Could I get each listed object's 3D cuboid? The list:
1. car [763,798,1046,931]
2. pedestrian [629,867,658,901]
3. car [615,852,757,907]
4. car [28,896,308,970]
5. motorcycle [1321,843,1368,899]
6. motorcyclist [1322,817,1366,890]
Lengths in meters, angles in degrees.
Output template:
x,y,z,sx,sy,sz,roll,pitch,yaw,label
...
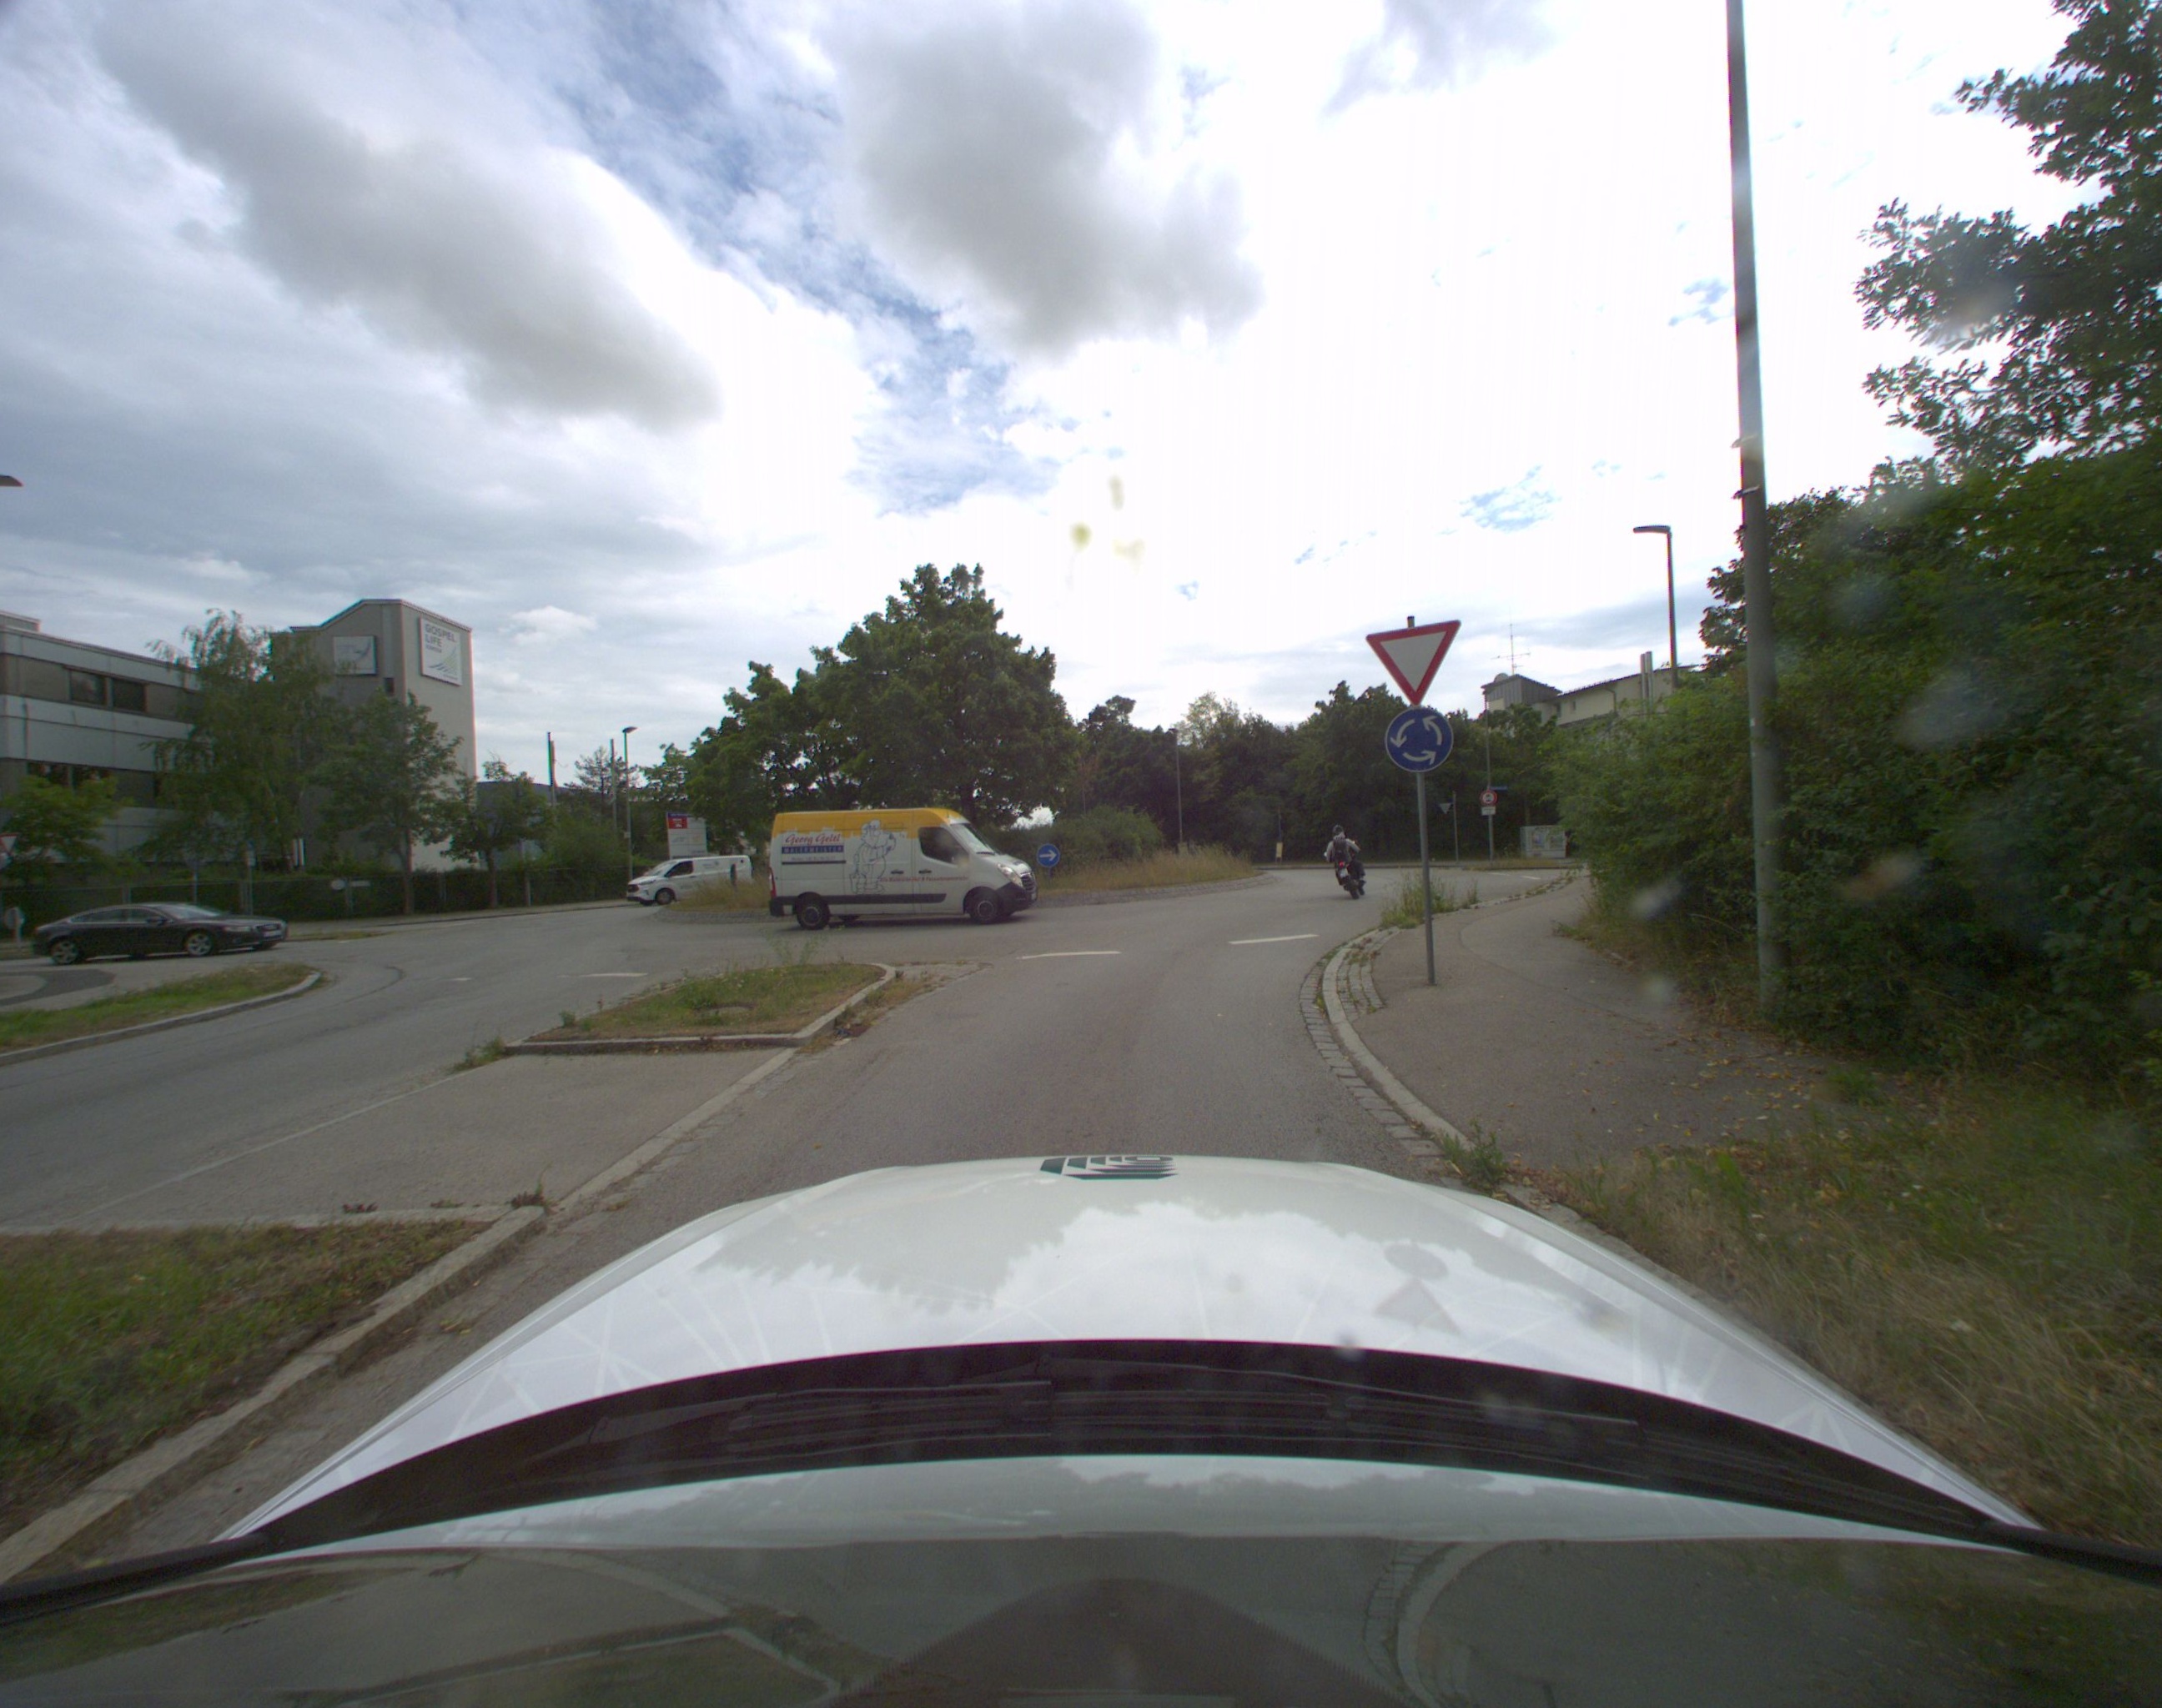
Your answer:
x,y,z,sx,sy,sz,roll,pitch,yaw,label
-3.684,0.216,17.542,5.392,2.451,2.175,-3,1,8,car
-20.342,1.398,37.873,0.625,1.468,0.954,-3,0,22,pedestrian
-17.030,1.061,35.358,1.974,1.905,5.105,-3,1,39,car
-22.902,1.942,20.615,4.452,1.347,1.931,-4,0,-7,car
6.262,0.365,19.230,0.889,1.158,2.634,-3,0,21,motorcycle
6.204,-0.023,19.190,0.854,1.623,1.197,-3,0,20,motorcyclist
